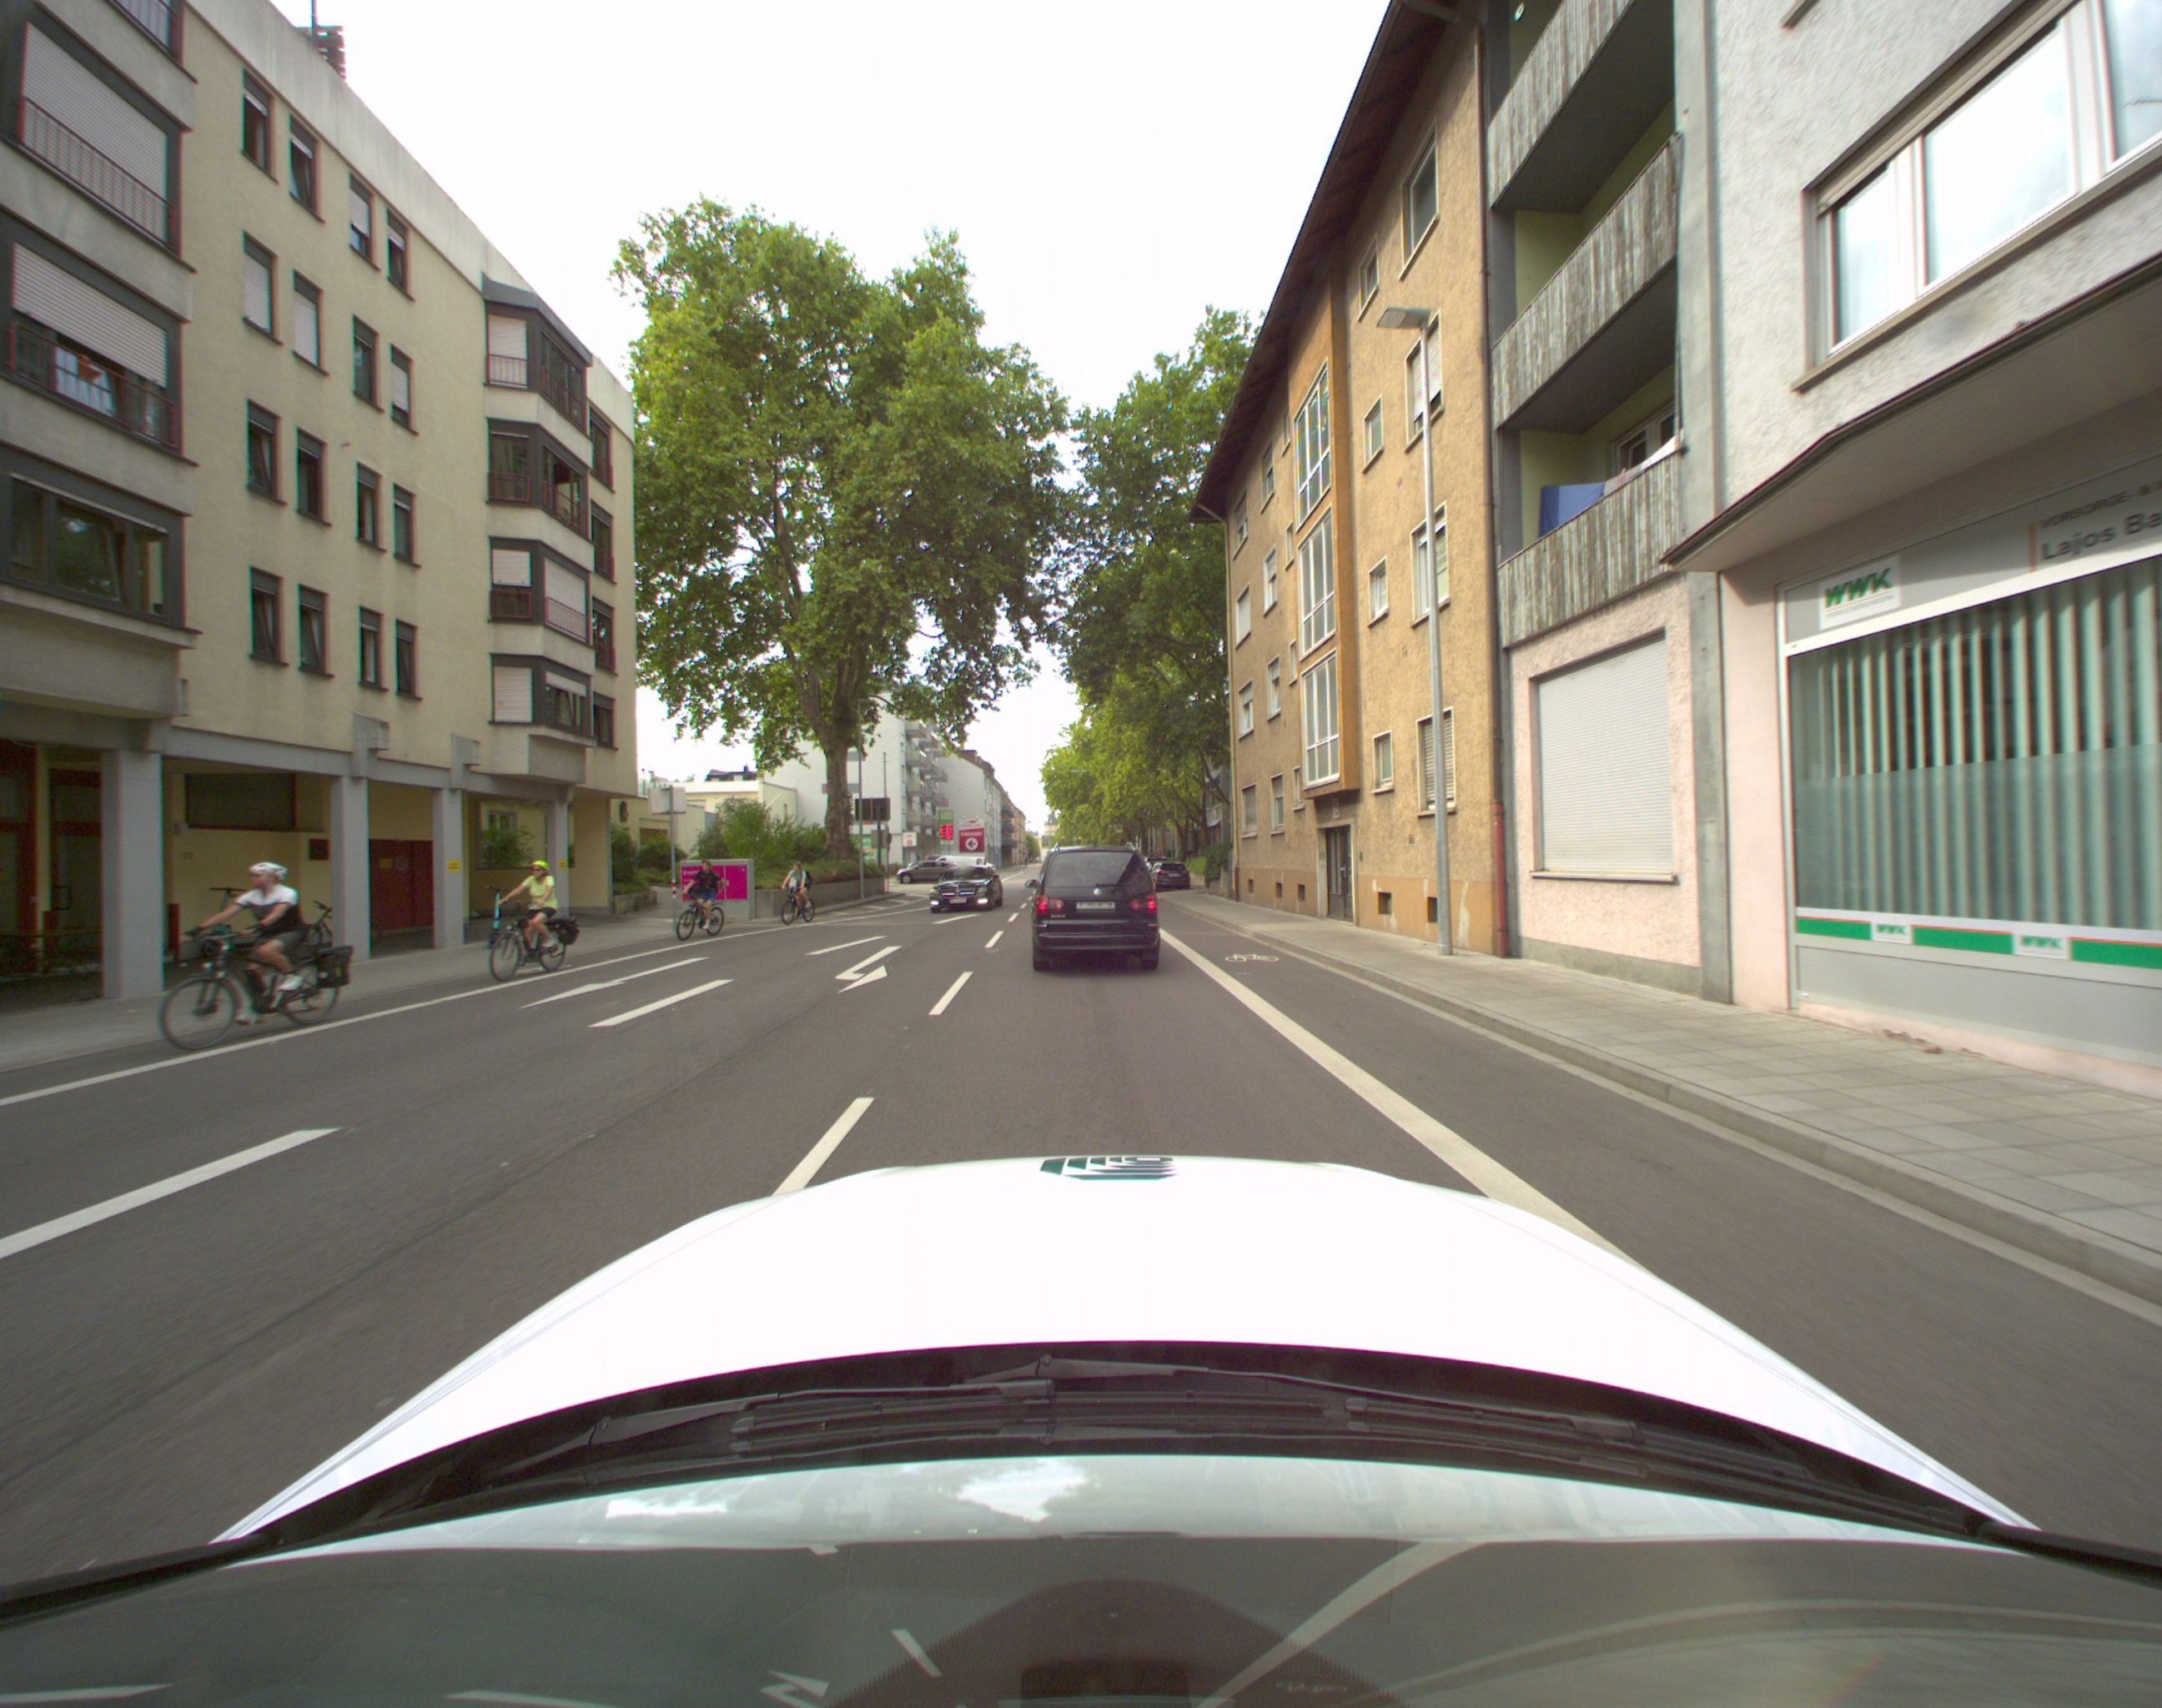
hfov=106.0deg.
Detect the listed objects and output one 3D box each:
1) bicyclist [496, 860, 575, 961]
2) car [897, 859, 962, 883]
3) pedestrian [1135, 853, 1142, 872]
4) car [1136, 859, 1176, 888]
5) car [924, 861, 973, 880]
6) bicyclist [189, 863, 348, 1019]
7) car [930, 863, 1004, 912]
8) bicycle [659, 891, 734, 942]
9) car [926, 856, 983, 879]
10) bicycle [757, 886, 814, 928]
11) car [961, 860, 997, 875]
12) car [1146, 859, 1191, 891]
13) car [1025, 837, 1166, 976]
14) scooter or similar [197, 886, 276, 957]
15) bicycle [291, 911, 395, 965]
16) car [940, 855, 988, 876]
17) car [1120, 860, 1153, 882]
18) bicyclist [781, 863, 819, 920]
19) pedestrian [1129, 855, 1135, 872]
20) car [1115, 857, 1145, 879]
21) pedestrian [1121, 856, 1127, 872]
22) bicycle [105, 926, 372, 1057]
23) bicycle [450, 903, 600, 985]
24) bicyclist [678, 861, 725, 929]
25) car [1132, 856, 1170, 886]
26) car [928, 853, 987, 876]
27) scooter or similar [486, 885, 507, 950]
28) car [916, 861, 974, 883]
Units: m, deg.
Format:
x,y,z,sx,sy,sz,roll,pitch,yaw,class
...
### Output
x,y,z,sx,sy,sz,roll,pitch,yaw,class
-8.602,0.868,12.864,0.654,1.525,0.841,0,1,3,bicyclist
-10.680,1.221,57.625,4.244,1.605,1.967,0,1,-1,car
6.101,0.899,86.745,0.641,1.975,0.692,0,1,-1,pedestrian
4.019,1.016,44.227,1.653,1.422,3.944,-1,0,-2,car
-10.799,1.328,66.495,3.673,1.444,1.752,1,0,-3,car
-8.567,0.872,8.638,0.654,1.525,1.003,0,1,3,bicyclist
-3.558,1.001,26.210,1.805,1.408,4.605,-1,-1,-2,car
-8.851,1.411,18.842,0.735,1.007,1.977,0,1,2,bicycle
-10.670,1.122,69.058,4.513,1.878,2.046,1,-1,-1,car
-8.327,1.461,23.035,0.735,1.007,2.196,0,1,2,bicycle
-10.099,1.323,80.692,3.336,1.497,1.594,1,-1,-4,car
4.200,0.986,39.542,1.653,1.422,3.863,-1,0,-2,car
0.133,0.659,12.320,1.808,1.766,3.735,0,0,-2,car
-15.718,1.235,15.188,0.285,1.201,1.175,-1,1,-5,scooter or similar
-13.351,1.504,14.783,0.428,0.821,1.618,-1,-1,-1,bicycle
-11.217,1.121,78.340,4.297,1.870,1.822,1,-1,-3,car
3.651,1.133,54.226,1.671,1.394,4.456,-1,-1,-2,car
-7.980,1.045,23.132,0.654,1.525,1.077,0,1,3,bicyclist
5.417,1.032,86.836,0.586,1.838,0.692,0,1,-1,pedestrian
3.510,1.033,59.523,1.723,1.517,4.866,0,-1,-2,car
4.584,1.049,86.963,0.586,1.702,0.508,0,1,-1,pedestrian
-8.655,1.360,8.514,0.734,1.007,1.911,0,1,3,bicycle
-8.649,1.357,12.824,0.734,1.007,2.254,0,1,3,bicycle
-8.780,0.934,18.877,0.654,1.525,0.857,0,1,3,bicyclist
4.212,0.988,49.486,1.654,1.650,4.414,1,0,-3,car
-10.837,0.957,71.592,4.904,1.903,1.998,1,-1,-3,car
-12.055,1.286,16.787,0.288,1.265,1.163,-1,-1,-39,scooter or similar
-9.998,1.328,60.224,3.927,1.569,1.753,1,0,0,car
